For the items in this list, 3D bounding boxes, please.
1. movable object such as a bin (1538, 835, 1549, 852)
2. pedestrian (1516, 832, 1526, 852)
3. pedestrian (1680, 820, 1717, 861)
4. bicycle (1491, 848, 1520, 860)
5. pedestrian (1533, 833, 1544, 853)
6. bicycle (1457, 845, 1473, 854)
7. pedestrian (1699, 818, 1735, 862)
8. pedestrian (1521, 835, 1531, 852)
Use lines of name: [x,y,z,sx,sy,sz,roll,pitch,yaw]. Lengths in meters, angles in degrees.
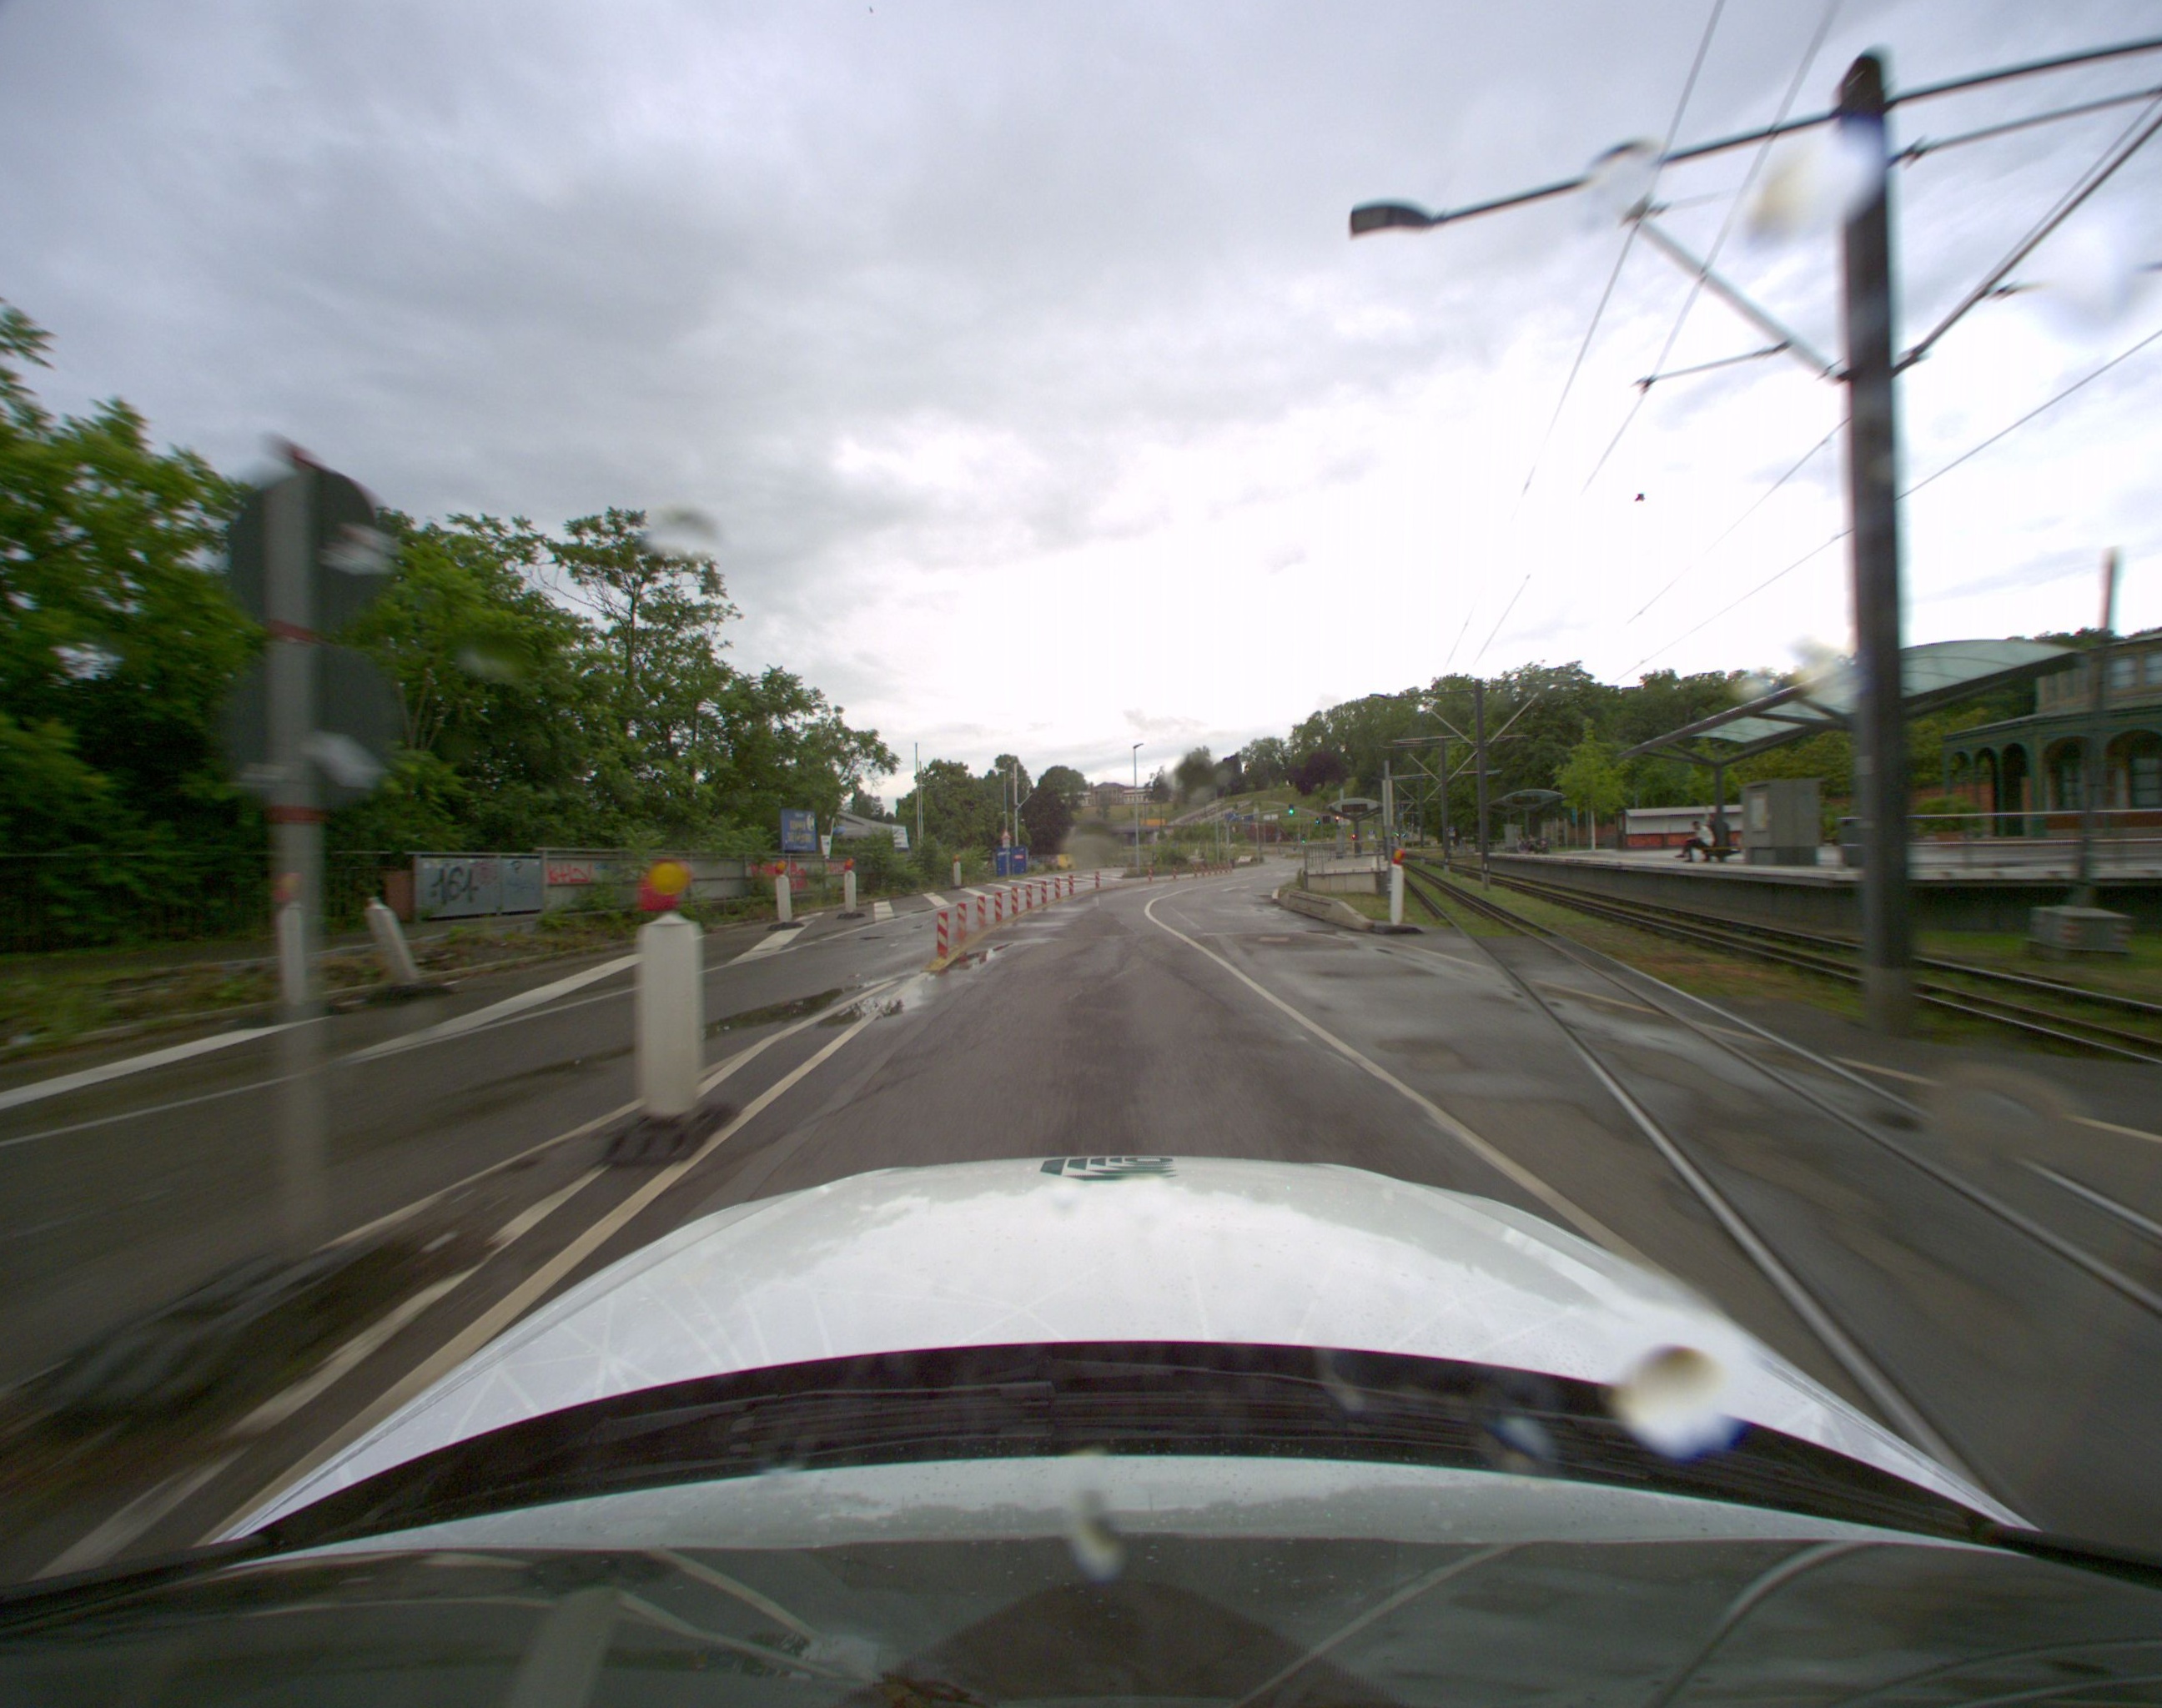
movable object such as a bin: [28.211,-0.620,49.638,0.433,1.009,0.685,-3,-1,20]
pedestrian: [27.470,-0.729,50.844,0.433,1.226,0.554,-3,-1,20]
pedestrian: [17.287,-0.370,22.798,0.597,1.119,0.521,3,0,4]
bicycle: [39.604,0.001,76.030,2.303,0.957,0.573,-3,0,18]
pedestrian: [28.443,-0.683,50.620,0.433,1.226,0.554,-3,-1,20]
bicycle: [51.067,-0.605,108.301,1.796,1.032,0.656,-3,0,17]
pedestrian: [18.245,-0.386,23.378,0.515,1.212,0.785,3,0,16]
pedestrian: [27.441,-0.622,50.184,0.433,1.009,0.554,-3,-1,20]
